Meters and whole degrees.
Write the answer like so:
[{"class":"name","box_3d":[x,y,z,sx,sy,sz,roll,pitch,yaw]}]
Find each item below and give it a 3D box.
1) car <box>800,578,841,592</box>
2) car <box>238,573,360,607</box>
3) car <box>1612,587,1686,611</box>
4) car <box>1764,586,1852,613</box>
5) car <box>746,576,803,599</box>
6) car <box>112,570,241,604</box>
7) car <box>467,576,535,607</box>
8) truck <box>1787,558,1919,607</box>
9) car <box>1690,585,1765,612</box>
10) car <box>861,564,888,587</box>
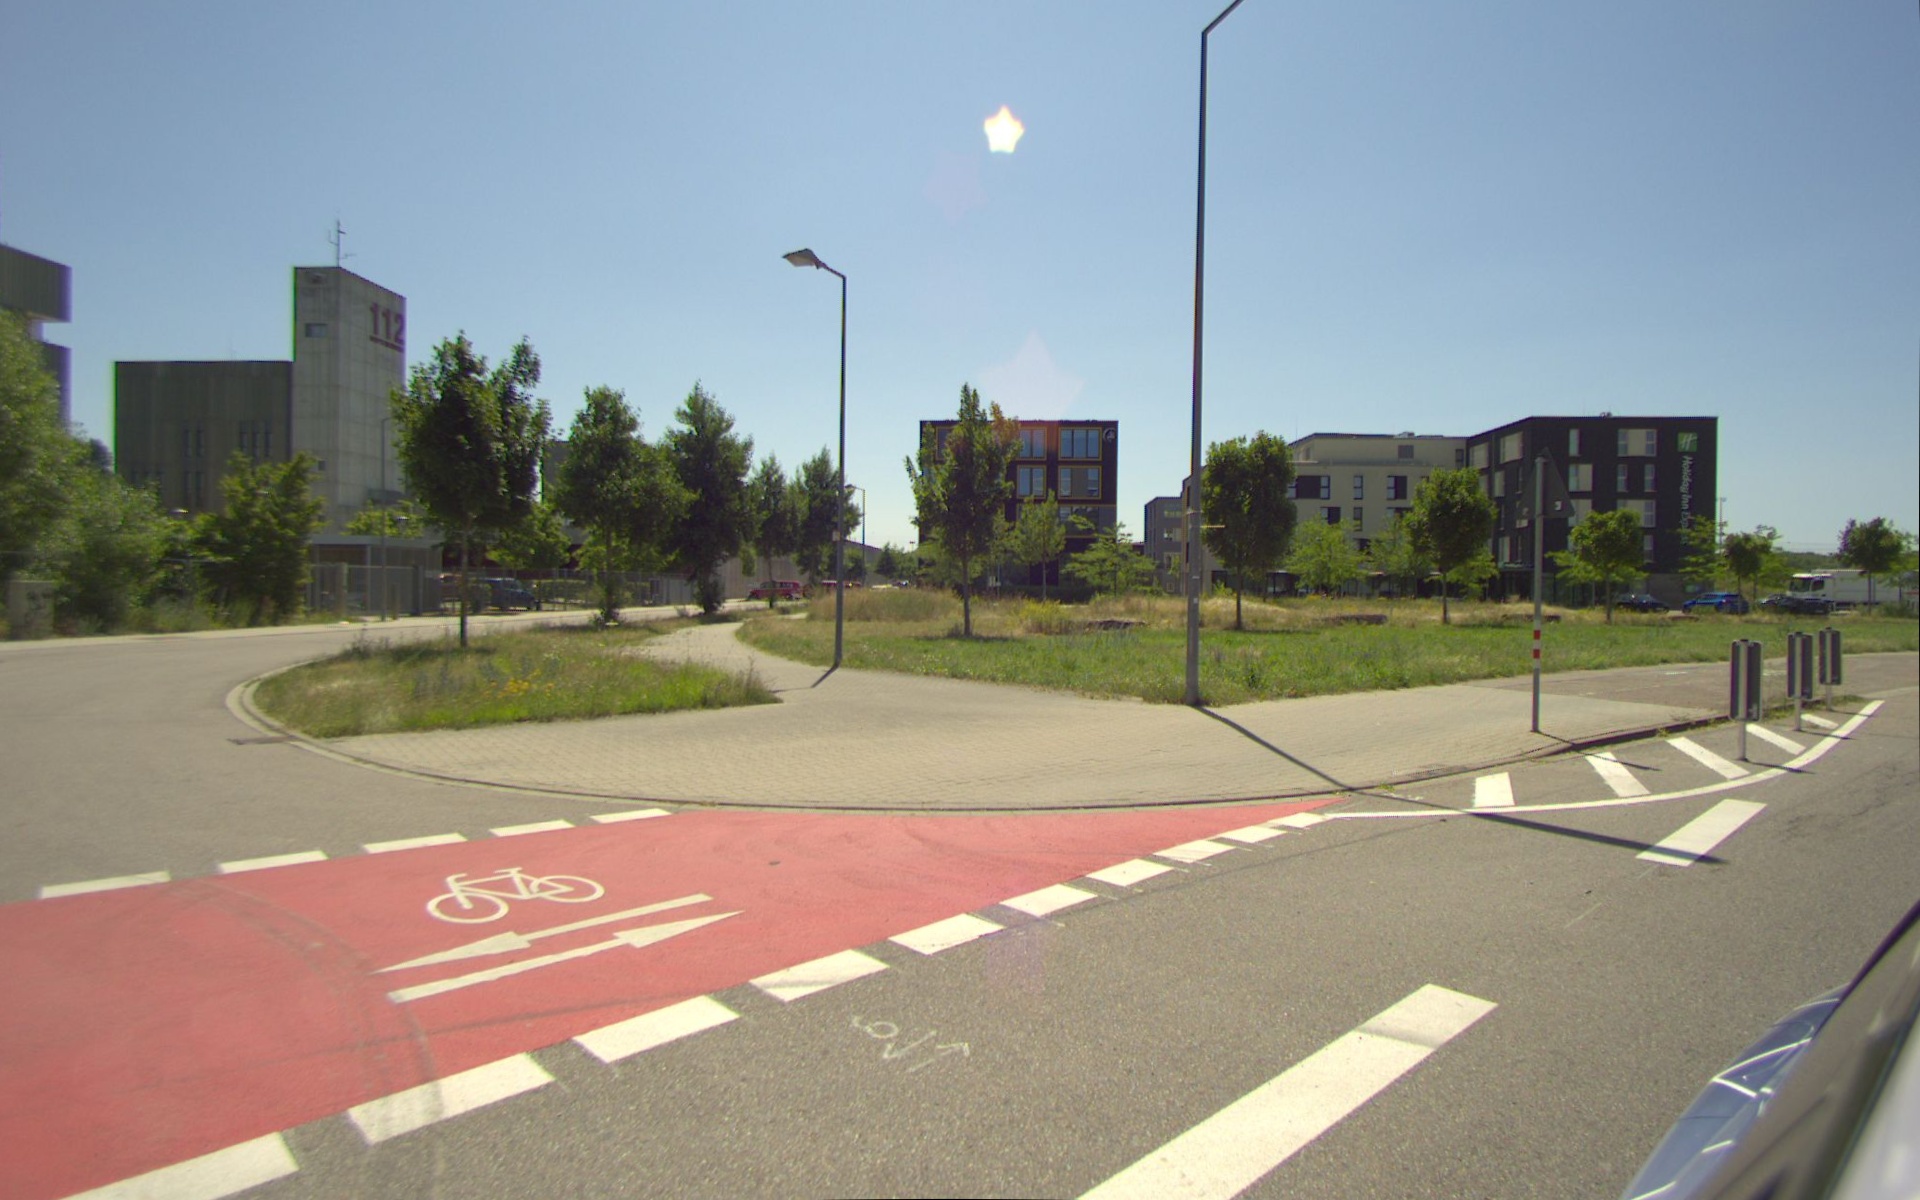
[{"class":"car","box_3d":[-15.889,-1.761,115.163,4.441,1.529,1.803,1,1,1]},{"class":"car","box_3d":[-29.977,-0.493,46.126,1.966,1.454,4.908,1,1,8]},{"class":"car","box_3d":[45.363,-0.109,66.740,1.924,1.462,4.129,1,1,-2]},{"class":"car","box_3d":[54.769,-0.066,65.488,1.994,1.581,4.506,1,1,2]},{"class":"car","box_3d":[-17.768,-1.172,97.115,5.069,2.142,2.234,0,1,5]},{"class":"car","box_3d":[-36.211,-0.636,46.988,1.963,1.454,5.078,1,1,2]},{"class":"car","box_3d":[-23.766,-0.461,52.572,1.624,1.509,3.999,1,1,2]},{"class":"truck","box_3d":[69.372,-1.326,75.639,11.926,3.503,3.016,1,3,6]},{"class":"car","box_3d":[50.248,-0.123,66.354,1.919,1.672,4.069,1,1,3]},{"class":"car","box_3d":[-7.846,-2.248,92.889,1.925,1.953,3.487,0,0,5]}]
